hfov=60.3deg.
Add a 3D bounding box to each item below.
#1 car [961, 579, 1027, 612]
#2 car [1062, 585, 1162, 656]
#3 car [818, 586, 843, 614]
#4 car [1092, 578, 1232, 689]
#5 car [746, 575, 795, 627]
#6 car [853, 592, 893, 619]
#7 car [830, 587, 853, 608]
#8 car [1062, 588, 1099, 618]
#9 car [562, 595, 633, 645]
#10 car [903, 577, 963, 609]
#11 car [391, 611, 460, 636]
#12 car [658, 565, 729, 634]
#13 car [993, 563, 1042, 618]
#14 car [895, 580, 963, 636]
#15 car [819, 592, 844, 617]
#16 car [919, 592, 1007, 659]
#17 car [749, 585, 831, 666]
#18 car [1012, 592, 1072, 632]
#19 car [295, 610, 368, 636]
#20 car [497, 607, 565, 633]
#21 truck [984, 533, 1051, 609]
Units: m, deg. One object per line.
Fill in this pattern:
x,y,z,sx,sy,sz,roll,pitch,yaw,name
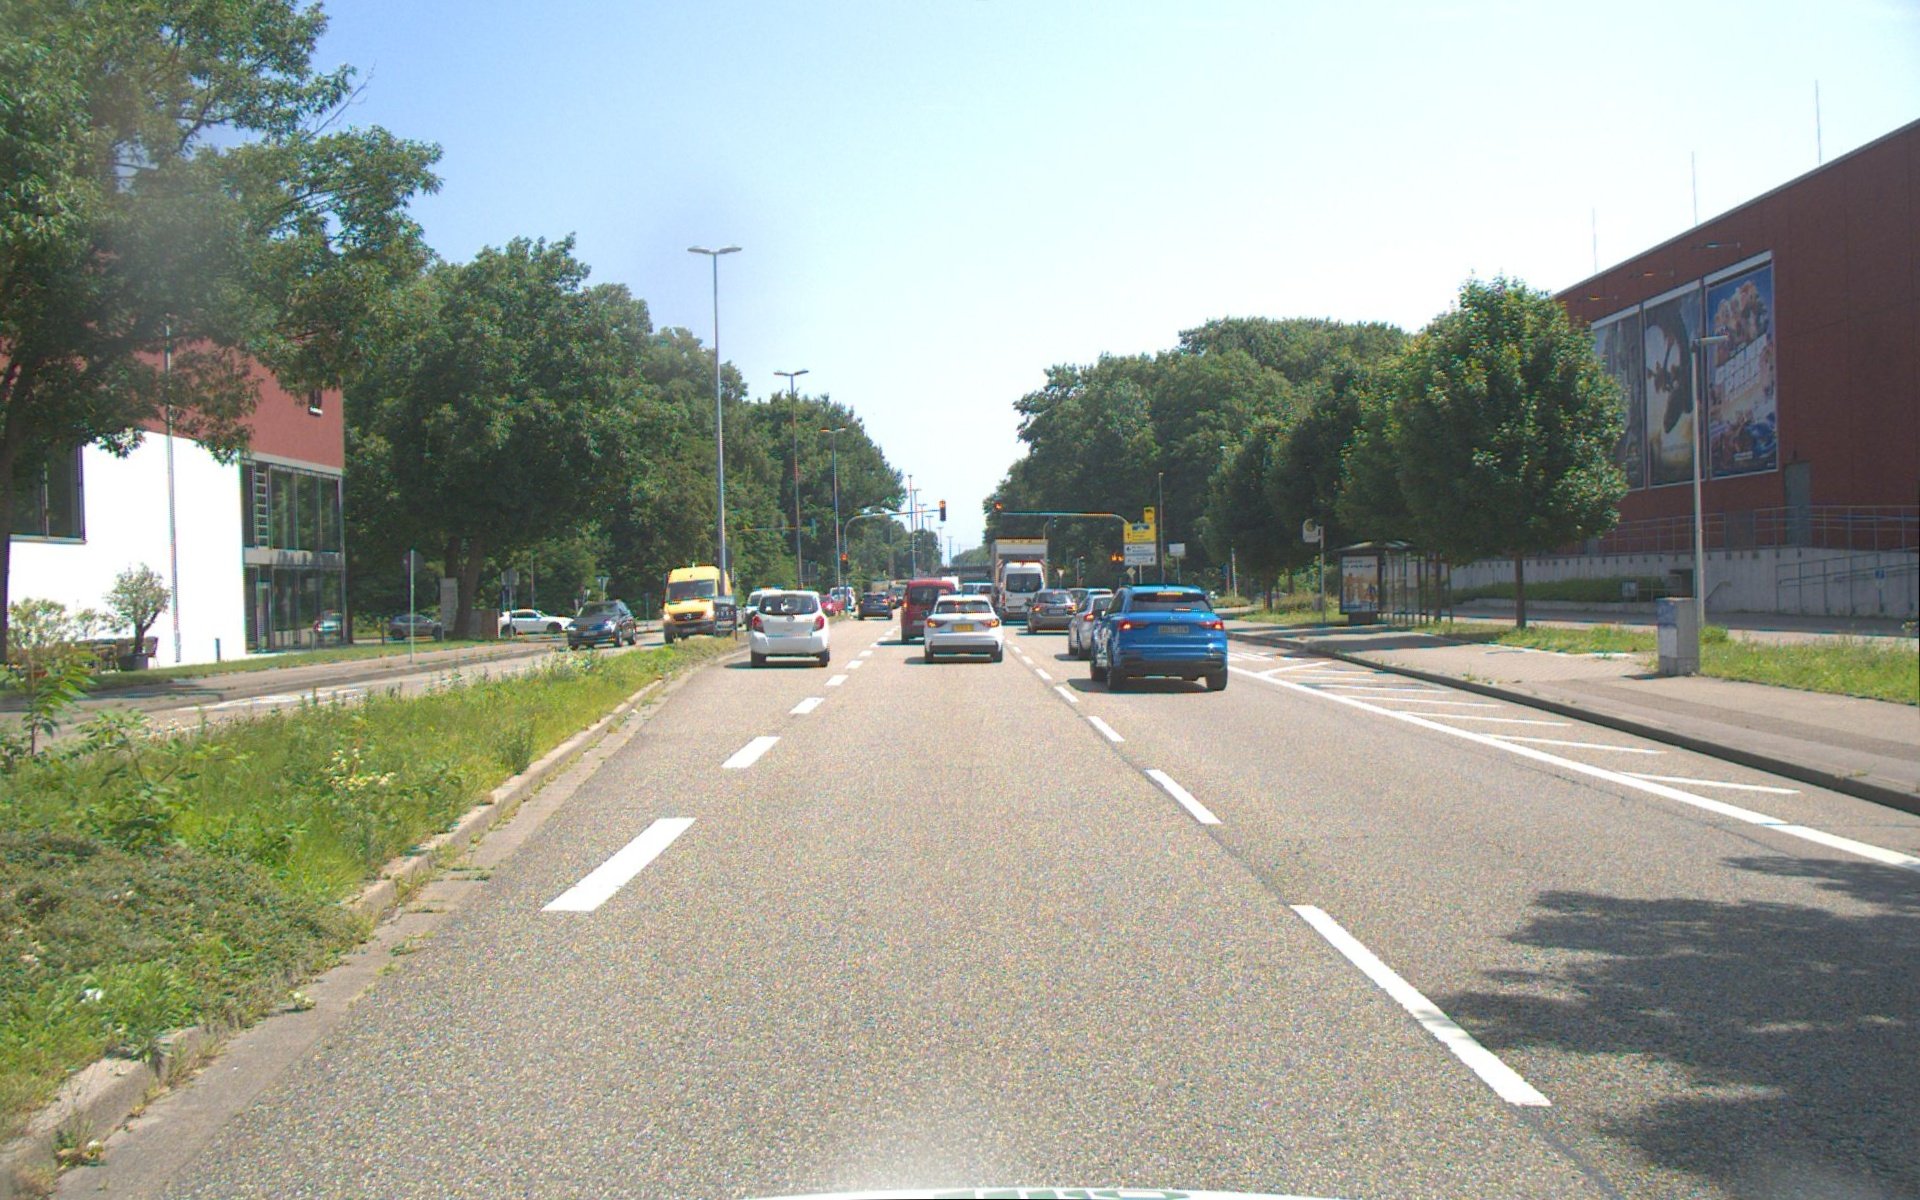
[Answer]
2.265,-0.297,109.961,3.909,2.049,1.998,-2,0,27,car
3.401,0.450,37.683,1.828,1.499,3.999,-1,0,-1,car
-8.818,-0.020,112.540,1.586,1.814,3.114,-2,0,-3,car
3.169,0.502,26.717,1.771,1.620,4.350,-1,0,1,car
-8.753,0.047,76.676,1.742,2.322,4.000,-1,0,1,car
-4.612,0.265,88.037,1.953,1.310,4.000,-2,0,-1,car
-9.488,-0.210,132.546,1.562,1.610,3.771,-2,1,-1,car
6.469,0.138,89.099,1.600,1.489,4.000,-2,0,-1,car
-12.803,0.688,58.586,1.676,1.691,3.999,-1,0,-1,car
-1.850,-0.491,113.527,1.985,2.049,3.936,-2,1,-43,car
-34.317,1.487,106.310,3.912,1.422,1.587,-2,0,-8,car
-9.360,-0.015,58.374,1.743,2.322,4.752,-1,0,0,car
2.514,-0.426,72.986,1.953,2.295,4.000,-2,0,-1,car
-0.951,0.234,48.472,1.759,1.550,3.996,-1,0,-4,car
-7.299,0.254,94.200,1.341,1.331,2.692,-2,0,-3,car
0.050,0.536,36.700,1.846,1.378,3.999,-1,0,0,car
-3.526,0.513,34.758,1.606,1.579,3.322,-1,0,-5,car
2.827,0.417,57.553,1.828,1.333,3.999,-1,0,-1,car
-39.251,1.411,103.359,3.912,1.422,1.587,-2,0,-8,car
-26.753,1.254,103.246,3.912,1.422,1.587,-2,0,-8,car
2.798,-1.430,83.569,2.872,3.563,9.157,-2,0,-1,truck
